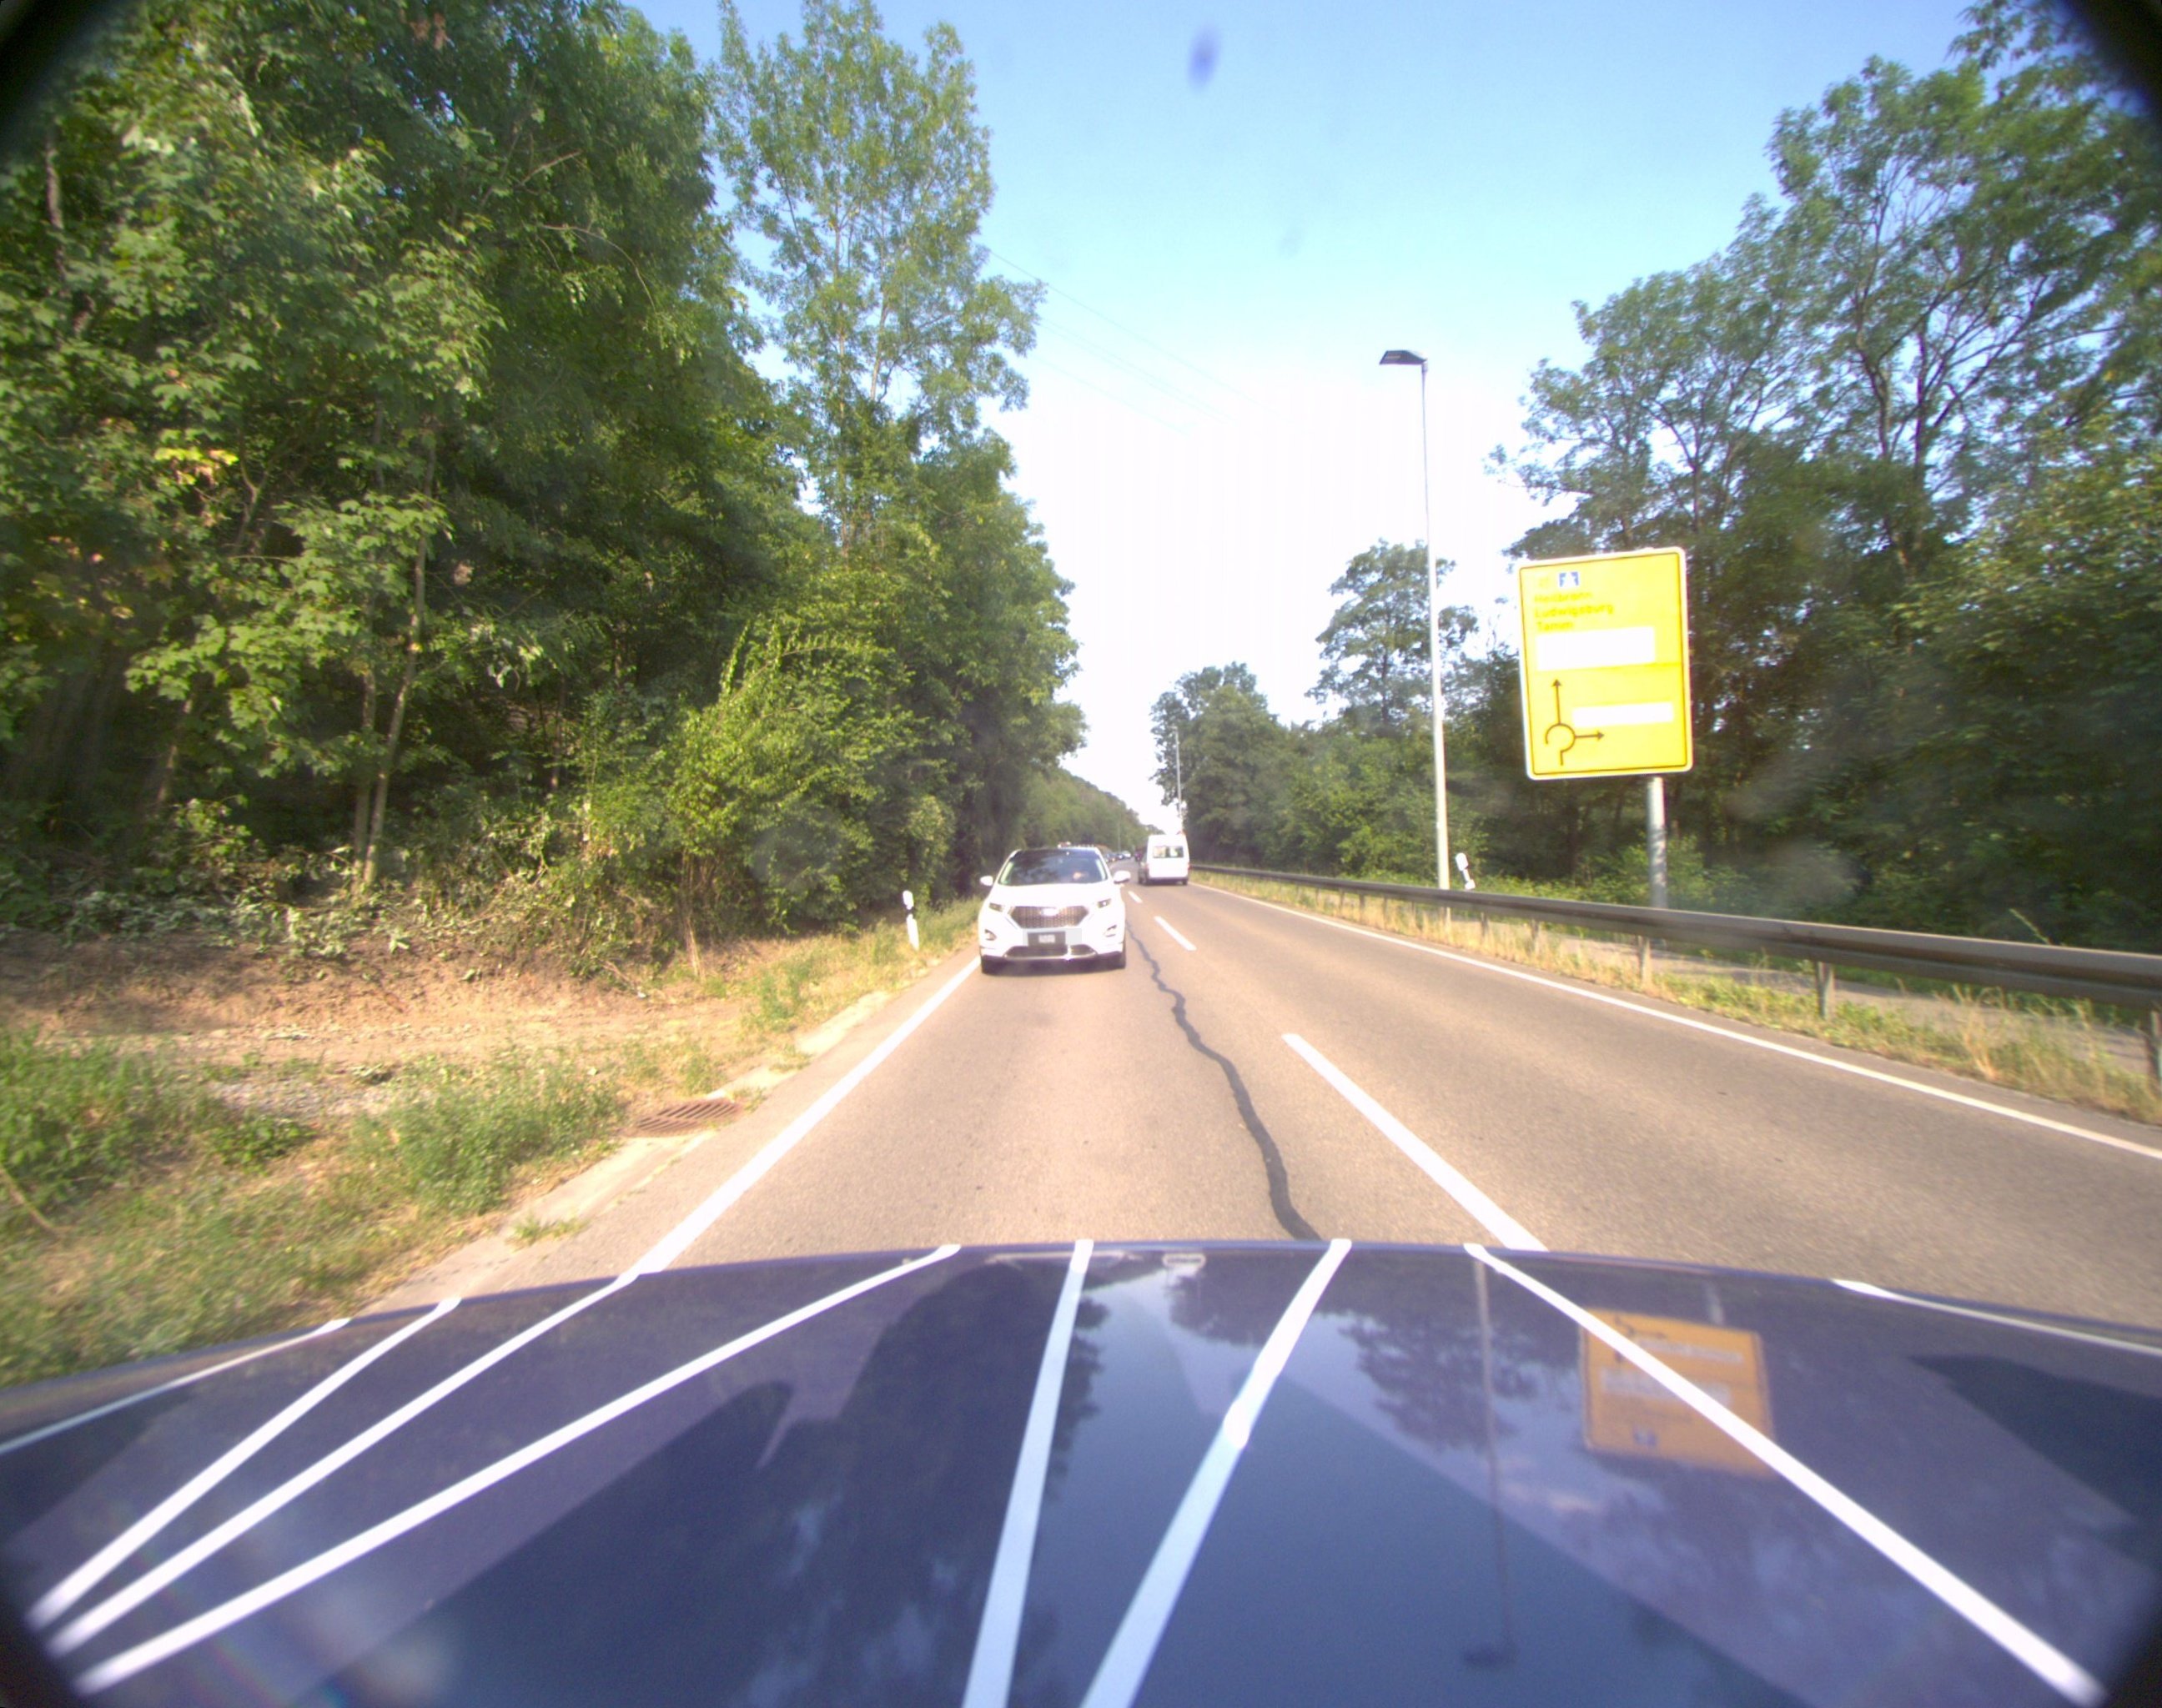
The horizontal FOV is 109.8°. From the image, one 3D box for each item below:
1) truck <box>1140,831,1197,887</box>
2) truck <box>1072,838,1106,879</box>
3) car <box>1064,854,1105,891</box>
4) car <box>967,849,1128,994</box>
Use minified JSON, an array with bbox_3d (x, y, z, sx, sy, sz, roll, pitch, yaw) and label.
[{"bbox_3d":[3.962,0.195,35.500,2.062,2.371,5.873,-2,1,1],"label":"truck"},{"bbox_3d":[0.503,0.256,47.705,1.894,2.334,5.273,-2,0,1],"label":"truck"},{"bbox_3d":[0.185,0.788,34.465,1.704,1.477,4.136,-2,0,1],"label":"car"},{"bbox_3d":[-0.379,0.818,11.312,1.894,1.691,4.136,-2,0,1],"label":"car"}]
